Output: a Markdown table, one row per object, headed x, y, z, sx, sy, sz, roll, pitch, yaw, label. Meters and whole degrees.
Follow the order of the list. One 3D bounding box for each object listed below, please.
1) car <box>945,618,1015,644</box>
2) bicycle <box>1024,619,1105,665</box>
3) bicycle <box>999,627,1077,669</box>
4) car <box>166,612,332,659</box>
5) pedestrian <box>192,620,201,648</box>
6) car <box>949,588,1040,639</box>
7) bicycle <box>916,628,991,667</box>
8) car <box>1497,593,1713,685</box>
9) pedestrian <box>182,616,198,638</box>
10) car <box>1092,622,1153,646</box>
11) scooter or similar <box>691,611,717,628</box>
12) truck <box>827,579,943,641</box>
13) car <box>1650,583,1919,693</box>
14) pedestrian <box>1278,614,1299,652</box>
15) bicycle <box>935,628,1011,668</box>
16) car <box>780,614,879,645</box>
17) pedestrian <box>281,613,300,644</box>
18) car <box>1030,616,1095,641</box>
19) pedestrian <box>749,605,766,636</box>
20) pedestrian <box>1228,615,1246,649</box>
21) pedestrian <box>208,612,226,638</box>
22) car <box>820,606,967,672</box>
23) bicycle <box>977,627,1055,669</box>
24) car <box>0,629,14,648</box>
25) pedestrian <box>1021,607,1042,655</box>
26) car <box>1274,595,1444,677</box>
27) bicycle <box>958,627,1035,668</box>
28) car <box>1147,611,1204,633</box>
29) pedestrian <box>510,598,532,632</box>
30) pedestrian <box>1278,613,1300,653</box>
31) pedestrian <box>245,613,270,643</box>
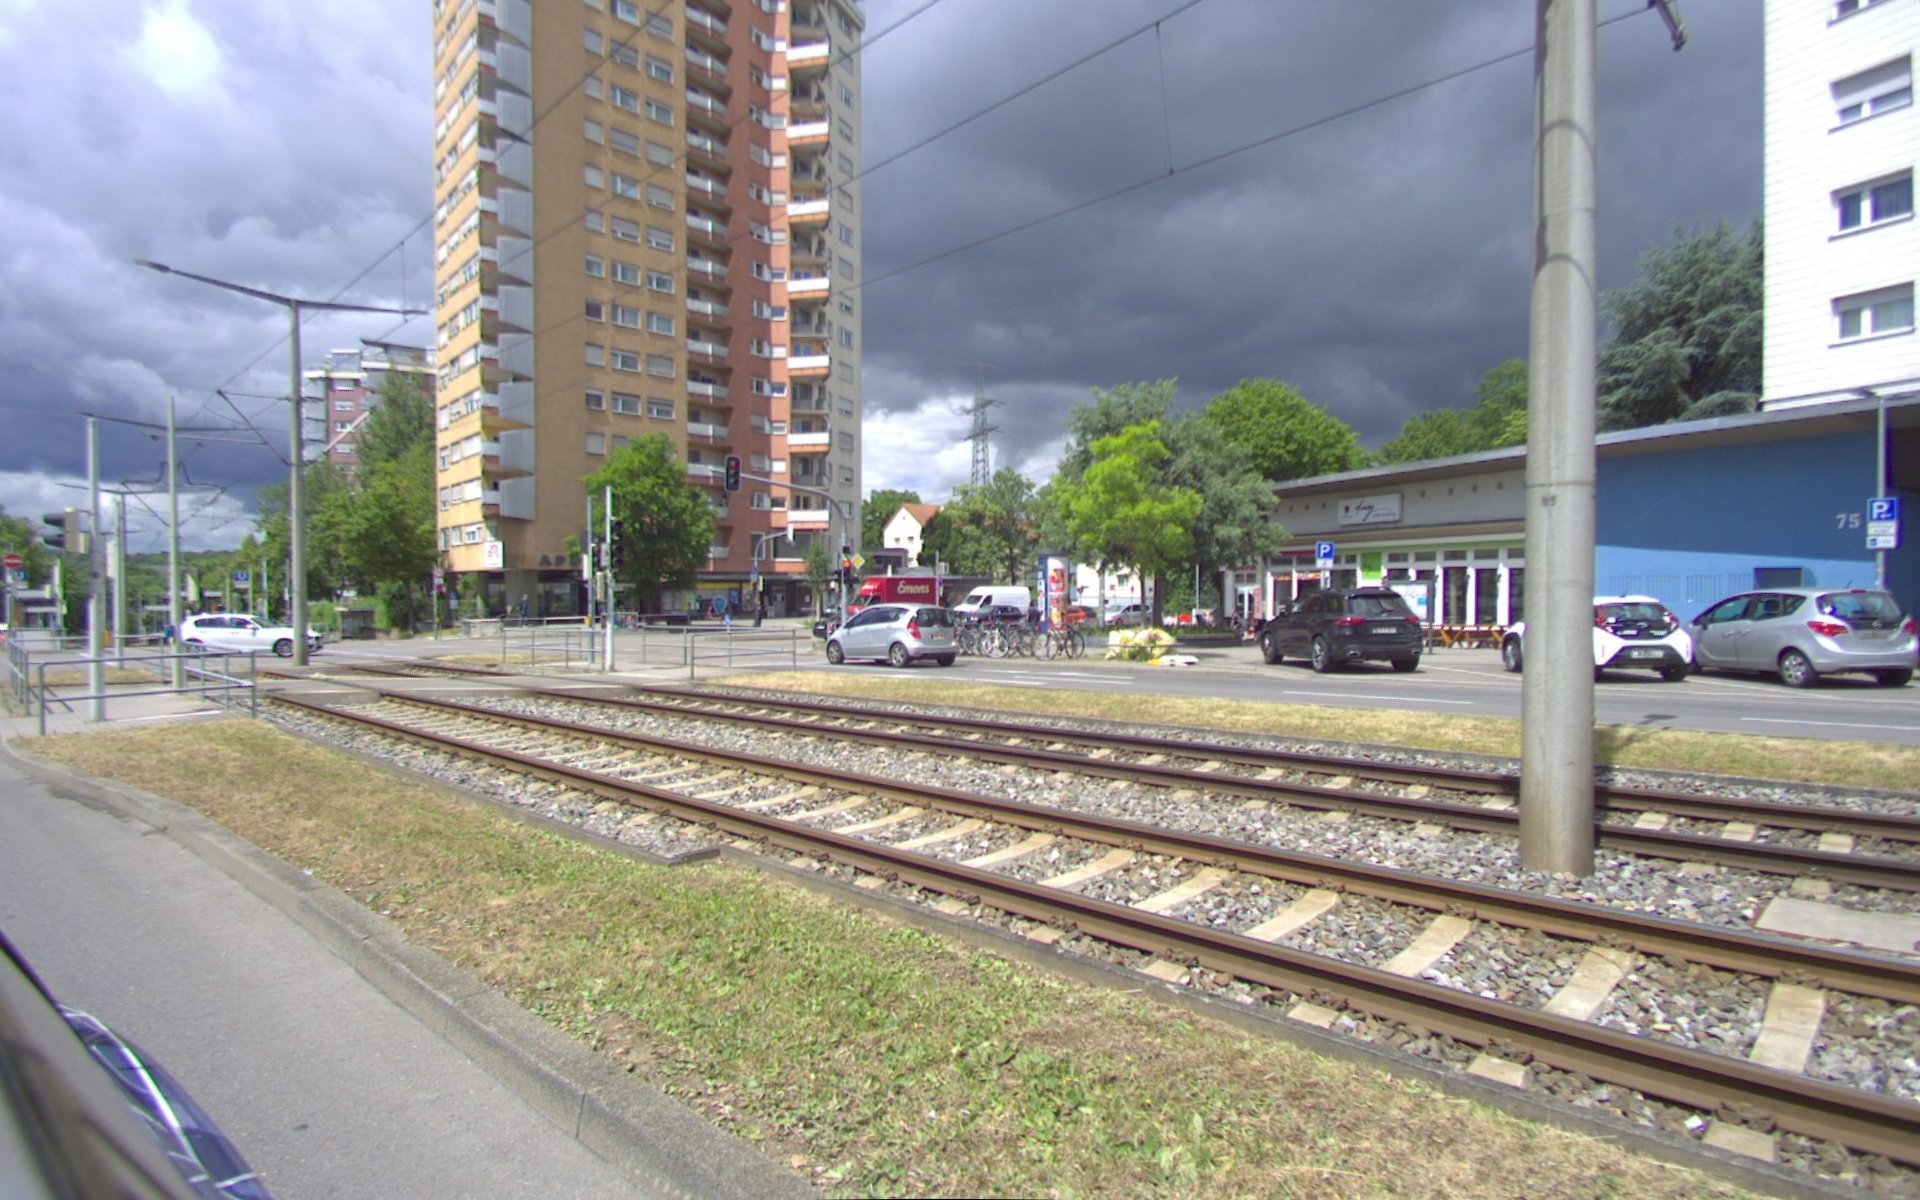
| x | y | z | sx | sy | sz | roll | pitch | yaw | label |
| --- | --- | --- | --- | --- | --- | --- | --- | --- | --- |
| 1.257 | 1.938 | 63.386 | 3.934 | 1.614 | 2.004 | 1 | -2 | -37 | car |
| 2.703 | 1.046 | 25.924 | 0.717 | 1.042 | 2.400 | -2 | 0 | 44 | bicycle |
| 2.125 | 1.271 | 27.168 | 0.705 | 1.074 | 2.399 | -2 | -2 | 44 | bicycle |
| -23.762 | 1.163 | 33.984 | 4.204 | 1.462 | 1.800 | 0 | 1 | -14 | car |
| -58.504 | 2.601 | 77.552 | 0.524 | 2.158 | 0.609 | 1 | -2 | -41 | pedestrian |
| 2.382 | 0.916 | 68.529 | 6.202 | 3.324 | 2.004 | 1 | -2 | -37 | car |
| -0.164 | 1.358 | 29.359 | 0.705 | 1.074 | 2.399 | -2 | -2 | 44 | bicycle |
| 11.761 | 0.705 | 18.787 | 1.725 | 1.508 | 3.762 | -1 | -2 | 4 | car |
| -55.436 | 1.942 | 72.863 | 0.748 | 1.618 | 0.853 | -2 | -3 | 45 | pedestrian |
| 11.315 | 2.328 | 70.415 | 3.934 | 1.614 | 2.004 | 1 | -2 | -37 | car |
| -17.246 | 1.314 | 68.222 | 0.545 | 1.102 | 1.729 | -2 | -2 | 41 | scooter or similar |
| -4.629 | 0.646 | 63.256 | 6.987 | 3.702 | 2.551 | 1 | -2 | -39 | truck |
| 14.167 | 0.628 | 17.261 | 1.879 | 1.644 | 4.001 | -1 | -2 | -2 | car |
| 13.004 | 1.290 | 40.093 | 0.563 | 1.483 | 0.527 | 0 | -2 | -13 | pedestrian |
| 0.398 | 1.336 | 28.790 | 0.705 | 1.074 | 2.399 | -2 | -2 | 44 | bicycle |
| -6.188 | 1.408 | 48.501 | 1.975 | 1.409 | 4.613 | -3 | -2 | 39 | car |
| -32.767 | 1.388 | 49.514 | 0.638 | 1.525 | 0.723 | 0 | -2 | -23 | pedestrian |
| 6.769 | 1.874 | 66.857 | 3.934 | 1.614 | 2.004 | 1 | -2 | -37 | car |
| -12.079 | 1.222 | 60.422 | 0.638 | 1.825 | 0.883 | -1 | -2 | 18 | pedestrian |
| 12.130 | 1.413 | 44.345 | 0.563 | 1.483 | 0.527 | 0 | -2 | -13 | pedestrian |
| -50.465 | 1.690 | 68.728 | 0.748 | 1.787 | 0.853 | -2 | -3 | 45 | pedestrian |
| -1.762 | 0.978 | 25.757 | 1.796 | 1.544 | 3.759 | 1 | -2 | -42 | car |
| 1.561 | 1.292 | 27.692 | 0.705 | 1.074 | 2.399 | -2 | -2 | 44 | bicycle |
| -108.488 | 4.348 | 114.408 | 3.999 | 2.165 | 1.972 | -2 | -2 | 42 | car |
| 2.472 | 1.067 | 35.107 | 0.600 | 1.655 | 0.412 | -2 | -2 | 42 | pedestrian |
| 8.522 | 0.768 | 22.038 | 1.904 | 1.603 | 4.002 | -1 | -2 | -3 | car |
| 1.040 | 1.313 | 28.239 | 0.705 | 1.074 | 2.399 | -2 | -2 | 44 | bicycle |
| 15.881 | 1.605 | 74.439 | 3.934 | 1.614 | 2.004 | 1 | -2 | -37 | car |
| -25.376 | 0.872 | 58.474 | 0.854 | 1.949 | 0.907 | -2 | -3 | 45 | pedestrian |
| 12.353 | 1.237 | 38.003 | 0.518 | 1.483 | 0.573 | 1 | -2 | -43 | pedestrian |
| -39.056 | 1.555 | 56.272 | 0.721 | 1.609 | 0.898 | -2 | 3 | 45 | pedestrian |
